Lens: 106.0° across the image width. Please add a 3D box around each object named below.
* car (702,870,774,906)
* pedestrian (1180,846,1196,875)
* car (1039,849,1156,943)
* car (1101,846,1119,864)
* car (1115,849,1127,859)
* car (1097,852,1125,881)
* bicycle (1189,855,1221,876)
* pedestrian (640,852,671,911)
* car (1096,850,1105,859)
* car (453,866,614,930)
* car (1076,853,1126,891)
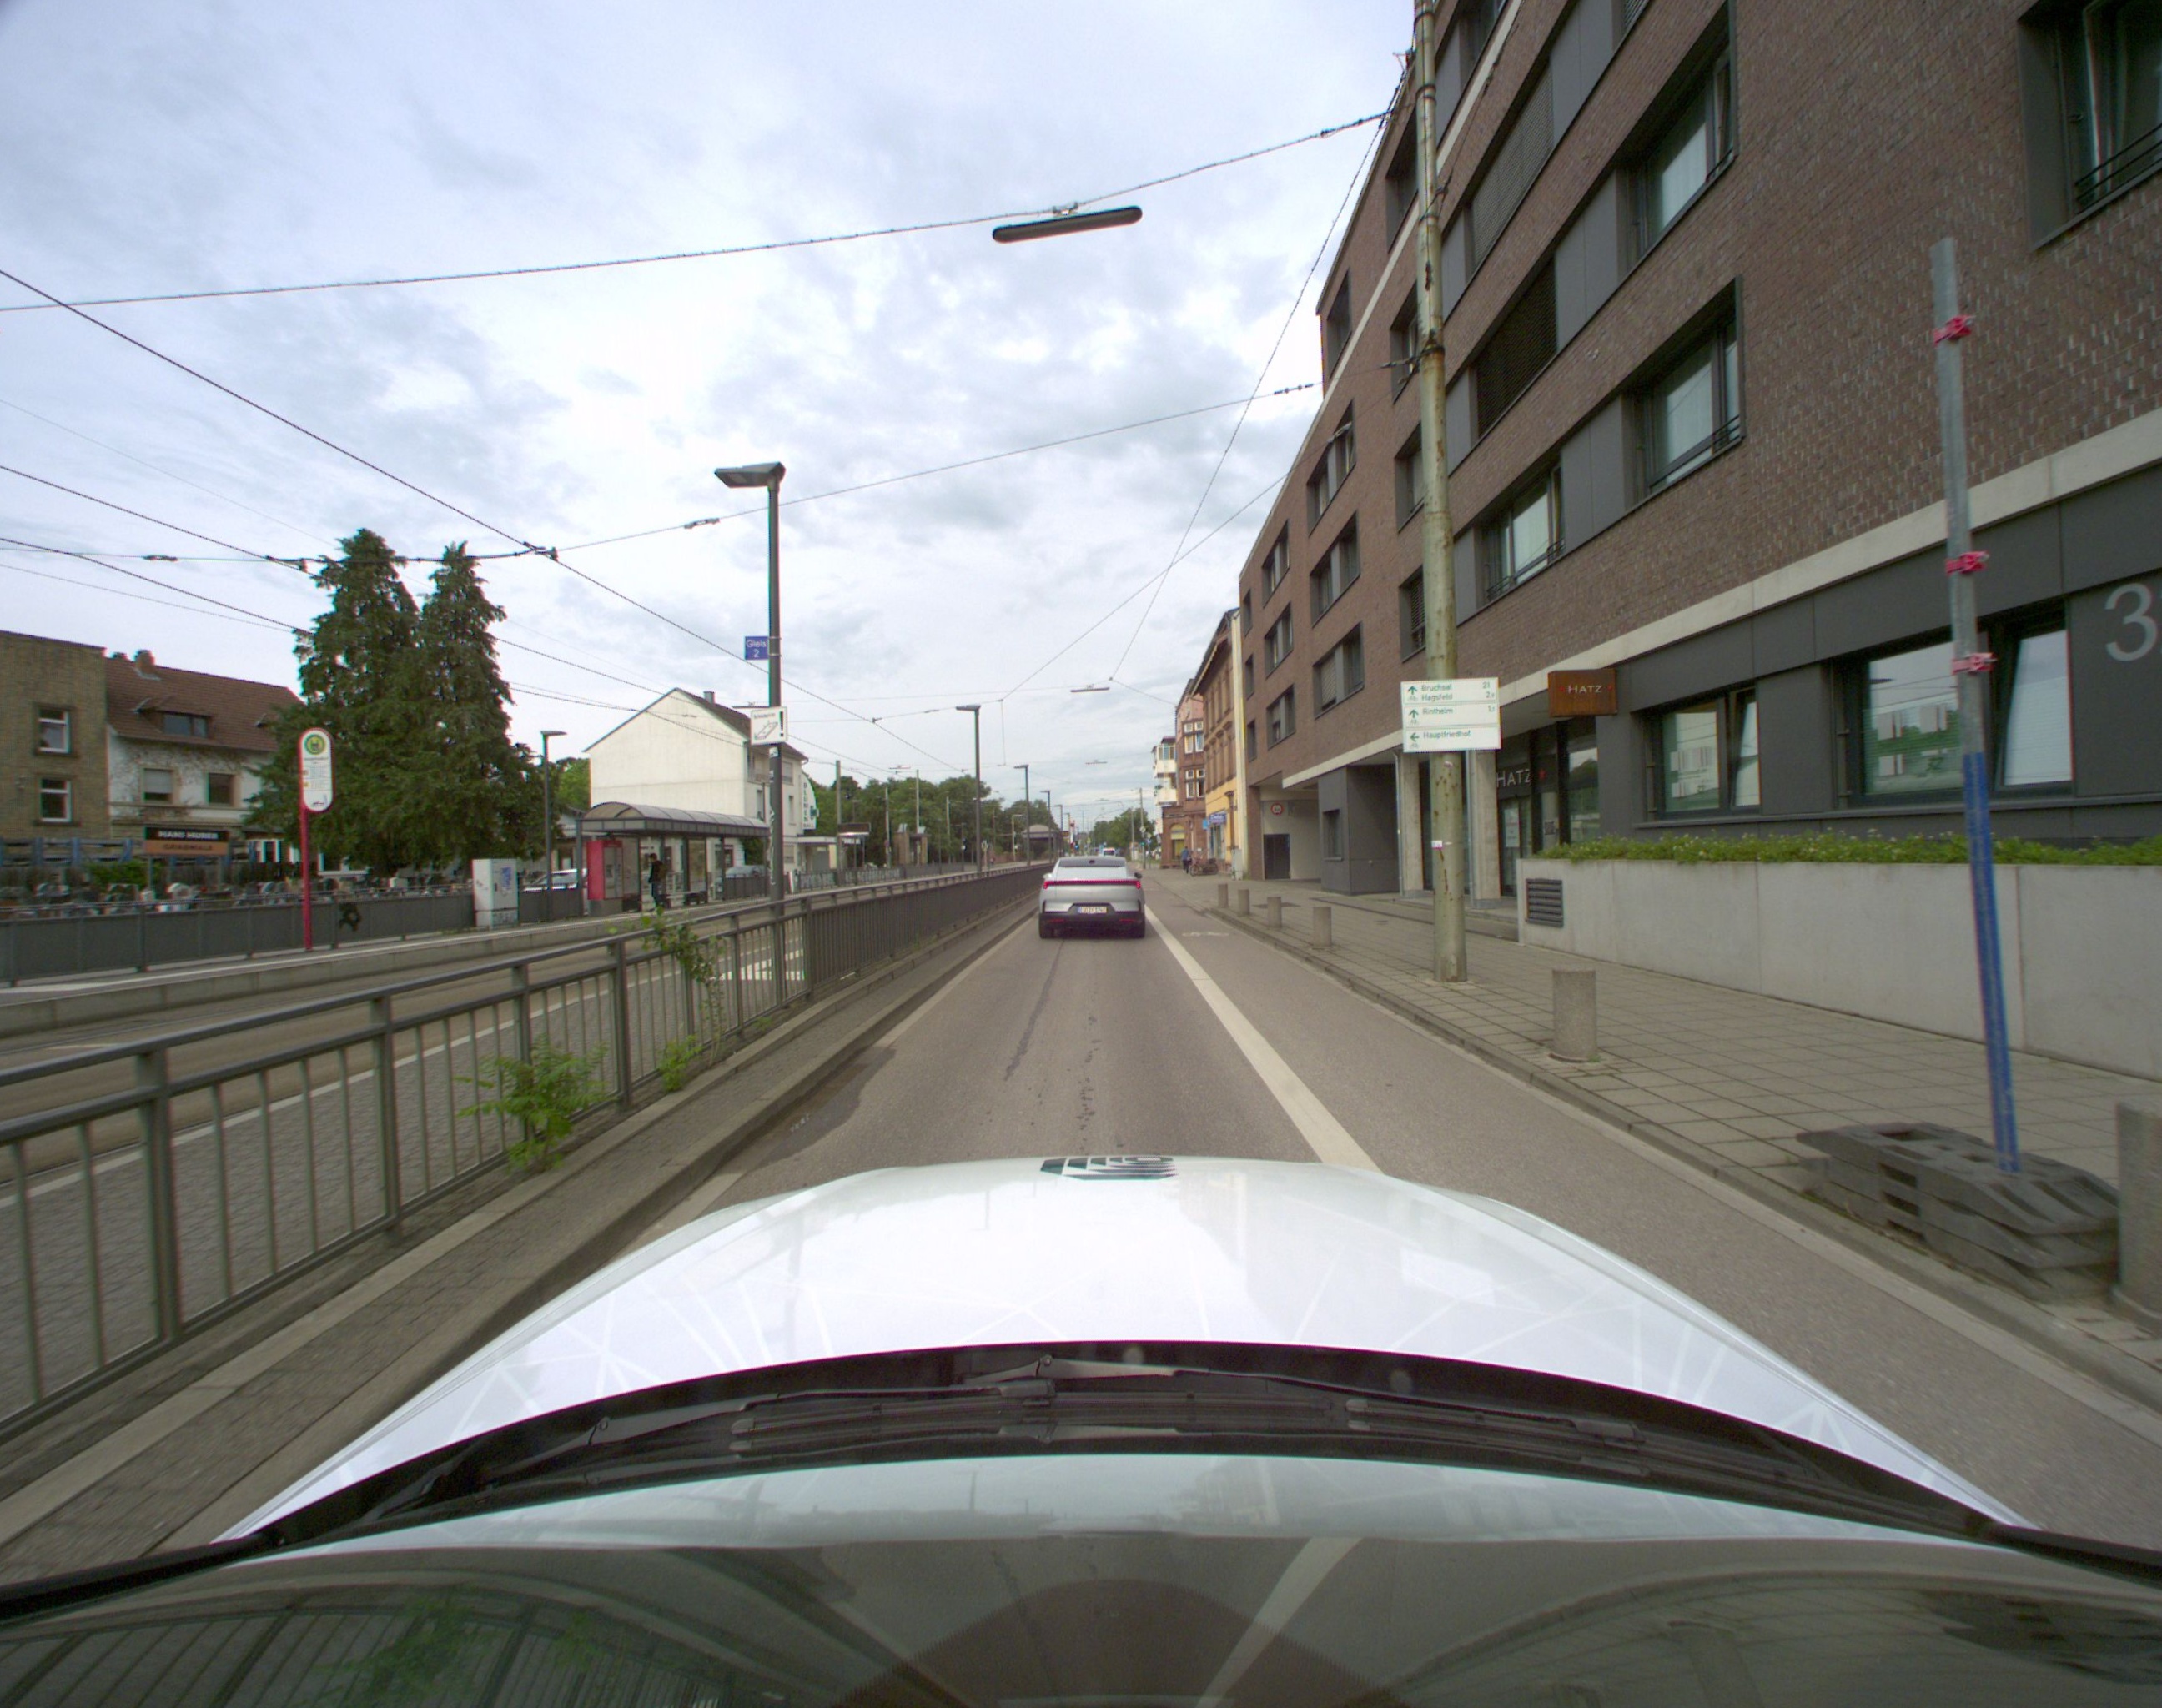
[{"bbox_3d":[-15.170,1.455,36.233,1.760,1.451,3.993,-2,-1,-4],"label":"car"},{"bbox_3d":[7.111,0.417,54.181,0.955,1.850,0.978,-4,0,7],"label":"pedestrian"},{"bbox_3d":[0.195,0.746,16.043,1.995,1.581,3.996,-1,-1,-3],"label":"car"},{"bbox_3d":[4.062,0.160,116.155,2.220,2.402,5.119,-1,-1,-2],"label":"car"},{"bbox_3d":[10.217,0.031,208.500,2.796,2.505,5.724,-1,-1,2],"label":"car"},{"bbox_3d":[1.875,0.778,51.345,1.674,1.687,3.825,-1,-1,2],"label":"car"},{"bbox_3d":[7.456,0.685,49.116,1.771,1.129,0.642,-4,0,0],"label":"bicycle"},{"bbox_3d":[-12.166,0.776,23.284,0.700,1.664,0.611,0,-1,-33],"label":"pedestrian"},{"bbox_3d":[4.364,0.144,183.266,1.986,2.013,4.001,-2,0,1],"label":"car"},{"bbox_3d":[-15.571,1.183,23.440,1.859,1.486,3.998,-4,0,-1],"label":"car"},{"bbox_3d":[0.822,0.728,34.918,1.987,1.420,4.000,-2,0,0],"label":"car"}]
